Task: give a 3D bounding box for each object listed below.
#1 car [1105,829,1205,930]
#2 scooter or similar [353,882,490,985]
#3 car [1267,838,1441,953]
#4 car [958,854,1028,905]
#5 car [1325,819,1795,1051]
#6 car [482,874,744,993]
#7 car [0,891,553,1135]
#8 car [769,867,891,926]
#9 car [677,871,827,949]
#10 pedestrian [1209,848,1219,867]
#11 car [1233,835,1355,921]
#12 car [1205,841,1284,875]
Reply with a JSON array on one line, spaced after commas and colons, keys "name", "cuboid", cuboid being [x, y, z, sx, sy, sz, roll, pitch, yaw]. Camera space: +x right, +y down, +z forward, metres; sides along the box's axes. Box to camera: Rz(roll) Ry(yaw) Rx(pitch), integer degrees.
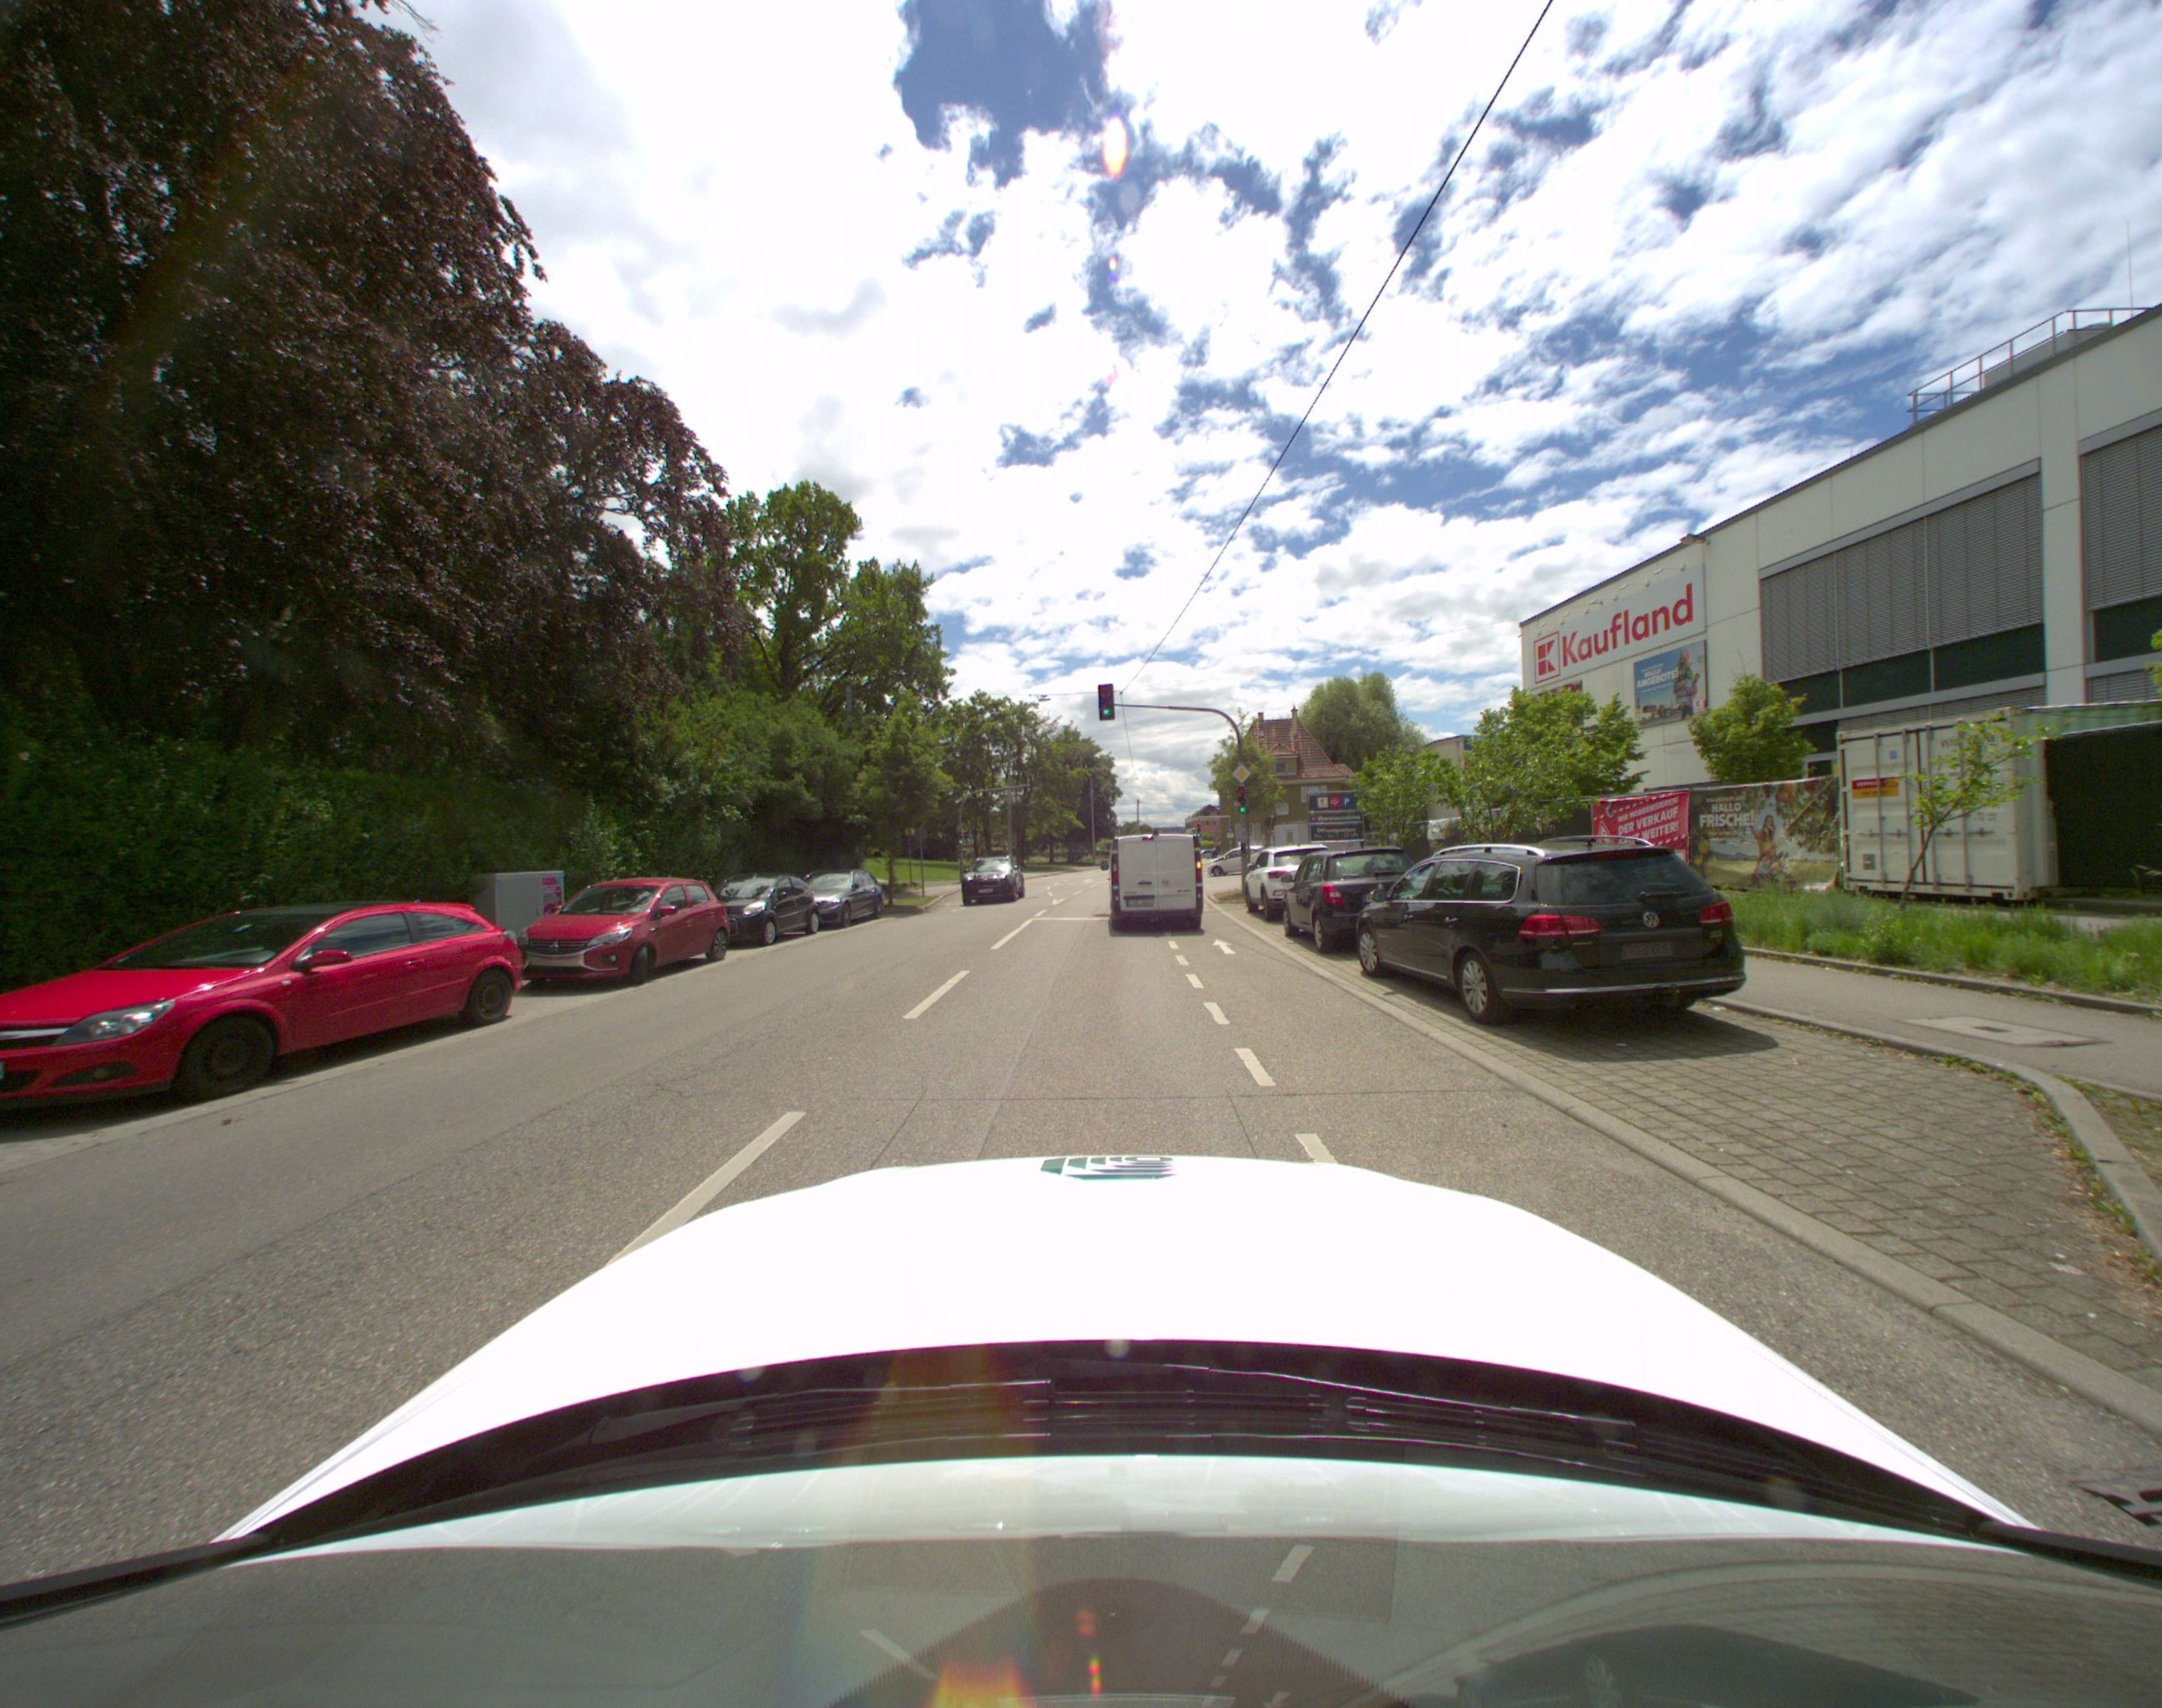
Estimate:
[{"name": "car", "cuboid": [1.546, 0.507, 18.370, 1.931, 1.960, 4.835, 0, 0, 2]}, {"name": "scooter or similar", "cuboid": [-10.127, 1.182, 12.580, 0.667, 1.412, 1.651, -1, 0, 4]}, {"name": "car", "cuboid": [4.222, 0.578, 13.239, 1.562, 1.493, 4.003, -3, 0, 3]}, {"name": "car", "cuboid": [-3.133, 0.864, 29.723, 1.826, 1.616, 4.155, -4, 0, 2]}, {"name": "car", "cuboid": [4.117, 0.585, 8.211, 1.759, 1.477, 4.935, -5, 0, 0]}, {"name": "car", "cuboid": [-7.068, 1.108, 12.870, 1.643, 1.450, 4.106, -1, 0, 2]}, {"name": "car", "cuboid": [-7.315, 1.149, 7.566, 1.654, 1.378, 4.569, -1, 0, 2]}, {"name": "car", "cuboid": [-6.617, 1.067, 22.042, 1.688, 1.365, 4.688, -1, 0, 2]}, {"name": "car", "cuboid": [-7.006, 1.133, 17.742, 1.588, 1.450, 3.599, -1, 0, 3]}, {"name": "pedestrian", "cuboid": [11.161, 0.306, 68.452, 0.674, 1.553, 0.838, -5, -3, 11]}, {"name": "car", "cuboid": [4.757, 0.511, 18.853, 1.730, 1.616, 4.389, -5, -1, 2]}, {"name": "car", "cuboid": [8.948, 0.203, 44.483, 3.953, 1.606, 1.616, -4, 0, 20]}]
